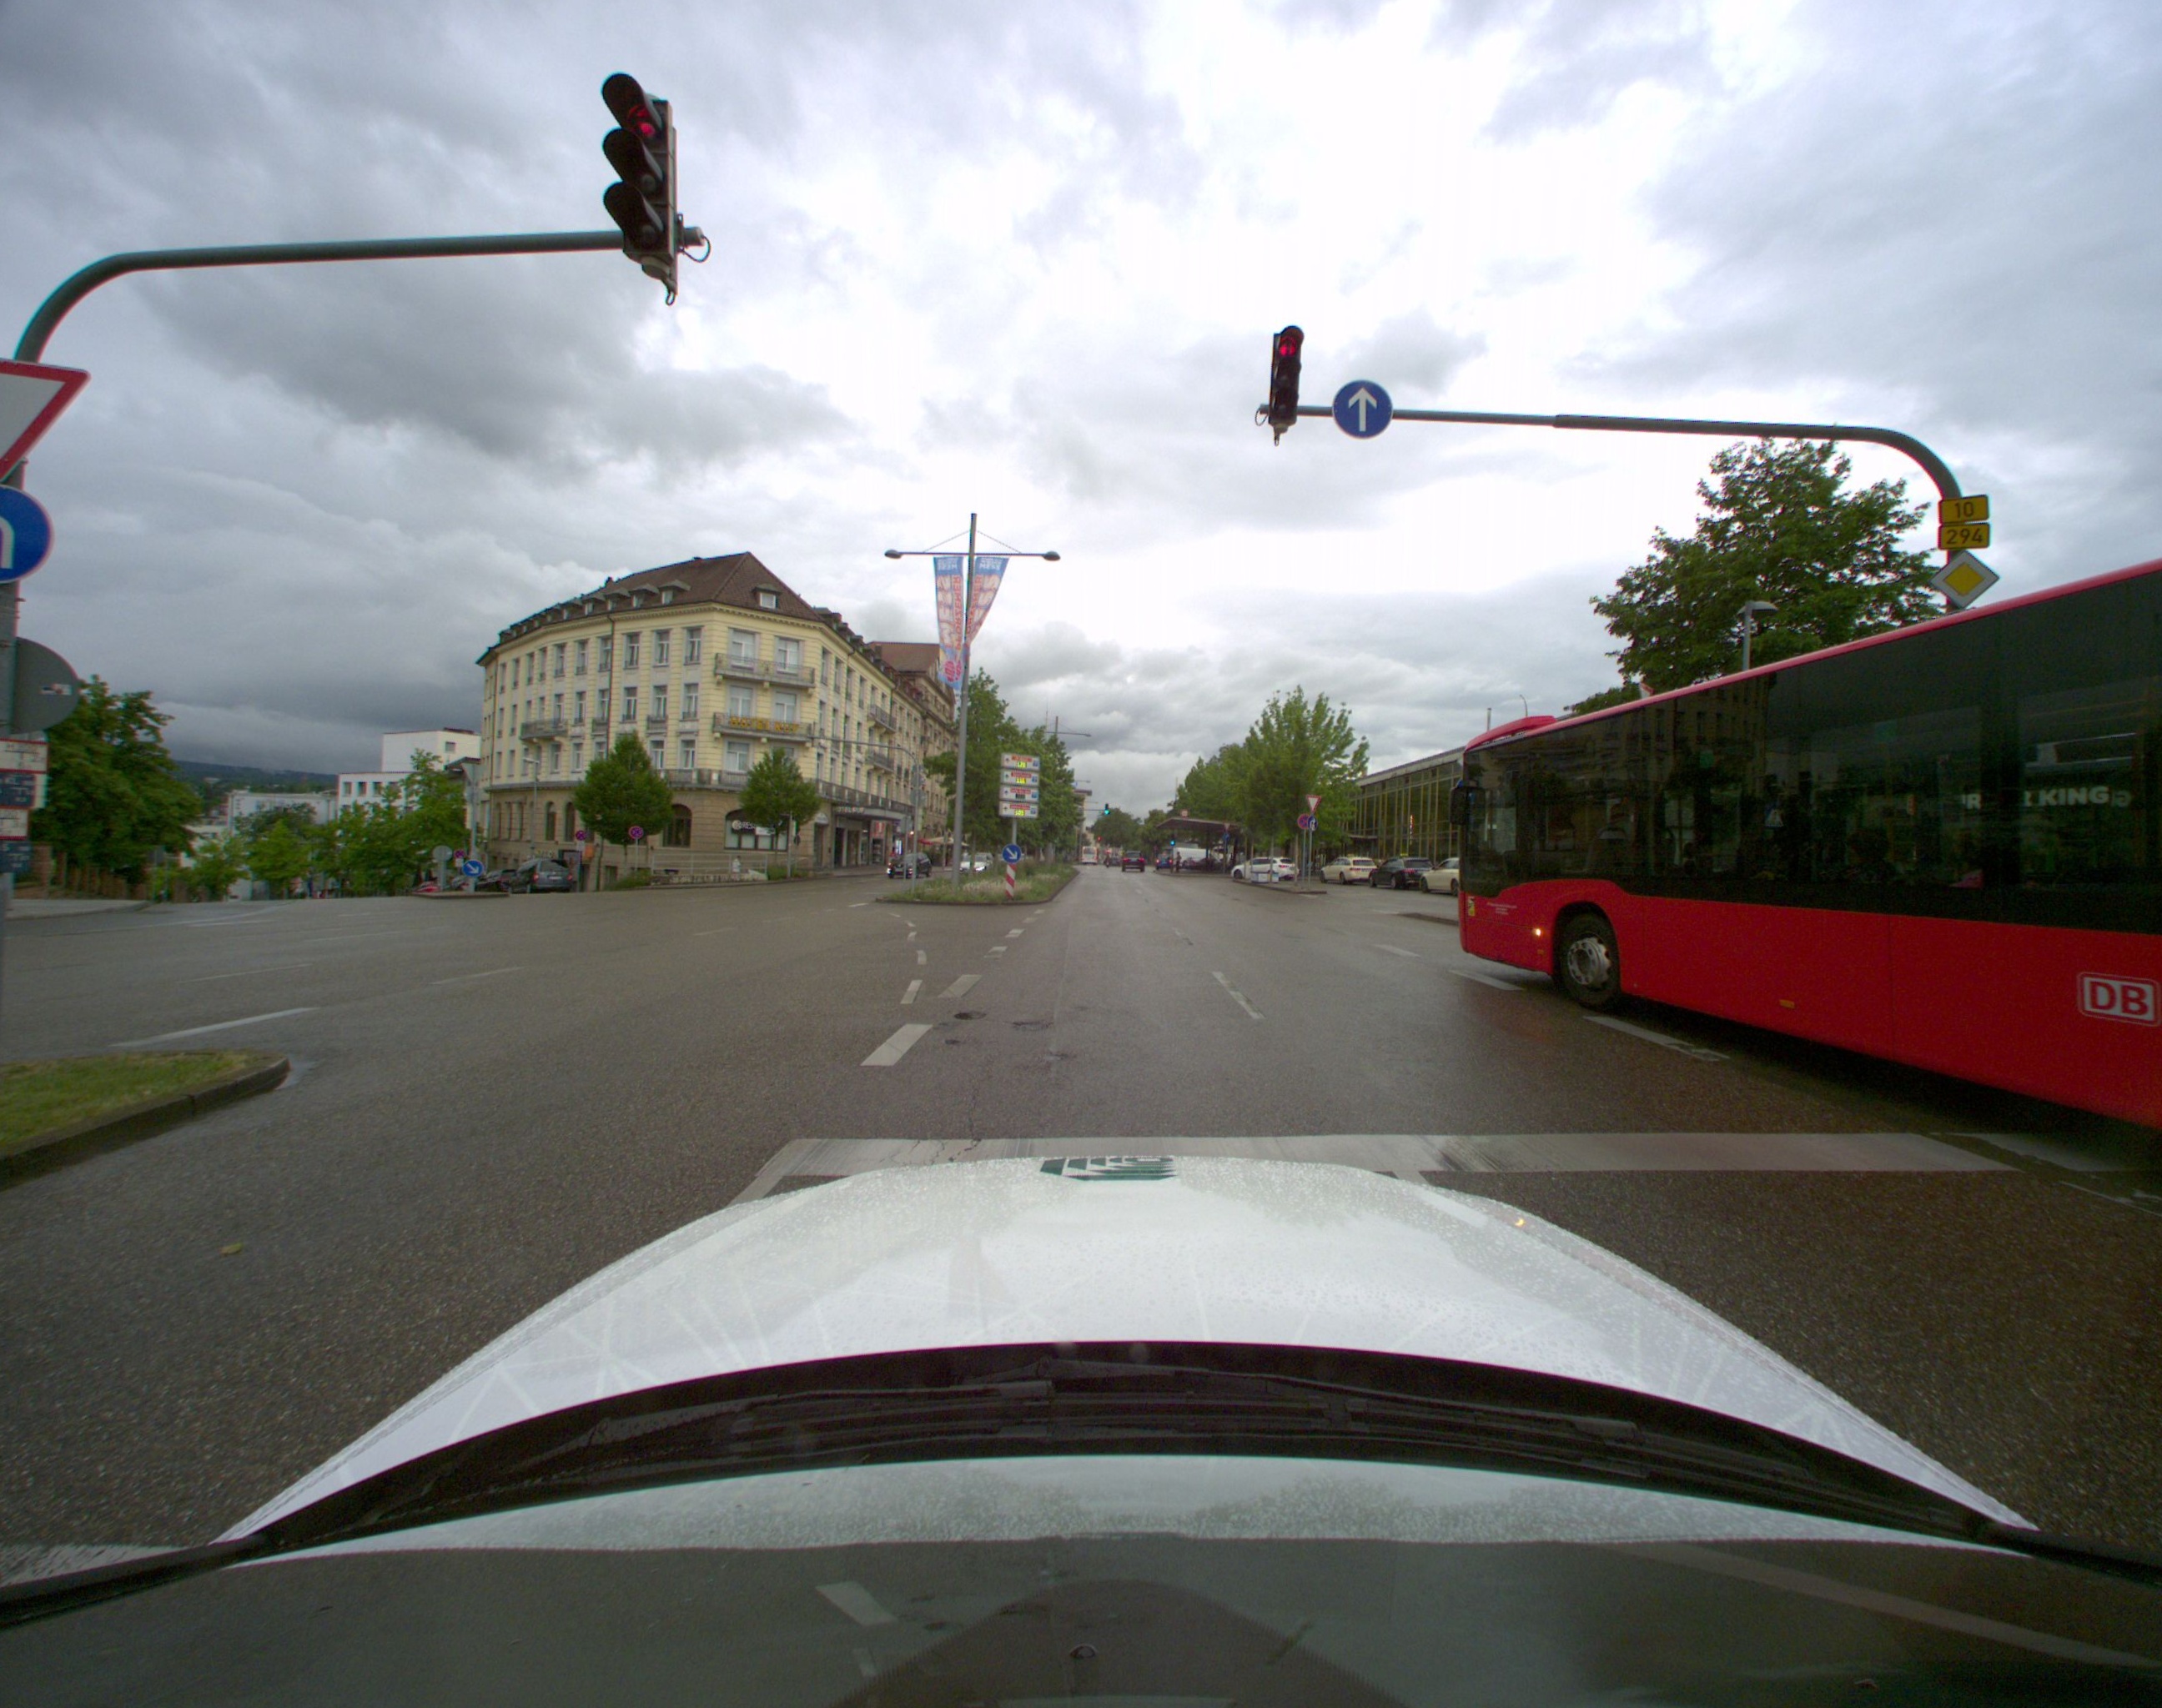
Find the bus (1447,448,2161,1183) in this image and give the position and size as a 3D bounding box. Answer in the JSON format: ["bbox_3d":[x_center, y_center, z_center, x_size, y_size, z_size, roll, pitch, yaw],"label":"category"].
[{"bbox_3d":[6.027,-0.163,5.259,2.734,3.174,10.192,0,0,0],"label":"bus"}]

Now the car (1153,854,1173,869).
[{"bbox_3d":[8.557,0.767,85.369,1.809,1.530,4.001,0,0,2],"label":"car"}]

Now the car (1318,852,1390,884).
[{"bbox_3d":[14.680,0.721,44.089,1.990,1.600,4.814,0,0,-5],"label":"car"}]

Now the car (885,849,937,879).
[{"bbox_3d":[-10.343,0.571,49.869,1.761,1.530,4.090,2,3,9],"label":"car"}]

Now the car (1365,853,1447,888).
[{"bbox_3d":[14.883,0.718,37.594,1.907,1.524,4.741,0,0,0],"label":"car"}]

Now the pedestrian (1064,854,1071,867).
[{"bbox_3d":[-1.714,0.818,104.443,0.754,1.701,0.561,0,0,8],"label":"pedestrian"}]

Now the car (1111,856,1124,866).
[{"bbox_3d":[5.100,0.973,114.496,1.702,1.448,4.001,0,0,2],"label":"car"}]

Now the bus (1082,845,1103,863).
[{"bbox_3d":[2.029,-0.002,149.311,3.748,3.209,15.524,0,0,0],"label":"bus"}]

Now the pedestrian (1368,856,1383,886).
[{"bbox_3d":[17.109,1.002,47.352,0.563,1.710,0.715,1,0,-3],"label":"pedestrian"}]

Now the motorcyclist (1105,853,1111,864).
[{"bbox_3d":[3.188,0.497,96.853,0.761,1.331,0.867,0,0,2],"label":"motorcyclist"}]

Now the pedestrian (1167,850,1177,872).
[{"bbox_3d":[7.429,0.606,66.548,0.717,1.791,0.663,0,0,-10],"label":"pedestrian"}]

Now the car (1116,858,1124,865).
[{"bbox_3d":[8.172,1.495,171.239,1.702,1.474,4.001,0,0,2],"label":"car"}]

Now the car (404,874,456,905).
[{"bbox_3d":[-41.189,2.215,51.484,3.575,1.812,1.788,0,0,38],"label":"car"}]

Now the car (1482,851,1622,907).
[{"bbox_3d":[14.645,0.727,25.649,1.768,1.589,4.615,0,0,0],"label":"car"}]

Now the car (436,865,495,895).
[{"bbox_3d":[-36.313,1.497,48.024,3.864,1.640,1.805,0,0,37],"label":"car"}]

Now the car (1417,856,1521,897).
[{"bbox_3d":[14.785,0.794,31.368,1.840,1.452,4.666,0,0,0],"label":"car"}]

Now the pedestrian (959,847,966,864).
[{"bbox_3d":[-12.118,0.145,83.416,0.573,1.732,0.609,0,0,1],"label":"pedestrian"}]

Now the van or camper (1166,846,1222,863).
[{"bbox_3d":[14.230,0.095,102.690,6.787,2.014,2.366,0,-1,-25],"label":"van or camper"}]

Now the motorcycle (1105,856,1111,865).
[{"bbox_3d":[3.192,0.766,96.738,0.763,1.077,2.176,0,0,2],"label":"motorcycle"}]

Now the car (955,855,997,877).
[{"bbox_3d":[-6.657,0.738,52.035,1.716,1.381,4.865,0,0,4],"label":"car"}]

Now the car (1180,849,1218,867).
[{"bbox_3d":[14.021,0.461,96.501,3.998,2.013,1.988,0,0,-18],"label":"car"}]

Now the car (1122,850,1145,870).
[{"bbox_3d":[4.729,0.512,73.733,1.986,1.806,4.691,0,0,2],"label":"car"}]

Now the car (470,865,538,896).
[{"bbox_3d":[-31.971,1.421,45.102,3.948,1.640,2.013,-1,-1,37],"label":"car"}]

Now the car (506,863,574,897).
[{"bbox_3d":[-27.102,1.276,40.762,3.949,1.568,1.812,0,0,41],"label":"car"}]

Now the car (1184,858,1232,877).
[{"bbox_3d":[12.820,1.396,82.131,4.348,1.857,1.988,0,0,-18],"label":"car"}]

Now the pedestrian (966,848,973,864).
[{"bbox_3d":[-11.407,0.206,83.406,0.672,1.701,0.634,0,0,1],"label":"pedestrian"}]

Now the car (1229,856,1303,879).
[{"bbox_3d":[11.501,0.794,50.907,1.788,1.385,4.318,0,0,-39],"label":"car"}]

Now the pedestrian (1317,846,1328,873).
[{"bbox_3d":[21.770,0.478,73.401,0.839,2.411,0.863,0,0,3],"label":"pedestrian"}]

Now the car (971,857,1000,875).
[{"bbox_3d":[-8.285,1.069,71.096,1.622,1.476,4.034,-1,0,7],"label":"car"}]

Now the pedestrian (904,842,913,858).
[{"bbox_3d":[-15.994,-0.347,75.380,0.666,1.510,0.513,0,-1,-36],"label":"pedestrian"}]

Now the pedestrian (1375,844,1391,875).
[{"bbox_3d":[20.076,0.347,54.088,0.767,2.014,0.828,0,0,0],"label":"pedestrian"}]

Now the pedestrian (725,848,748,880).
[{"bbox_3d":[-19.907,0.573,47.114,0.860,1.878,1.023,0,0,1],"label":"pedestrian"}]

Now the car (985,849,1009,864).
[{"bbox_3d":[-8.734,0.251,85.162,1.747,1.441,4.064,0,0,4],"label":"car"}]
